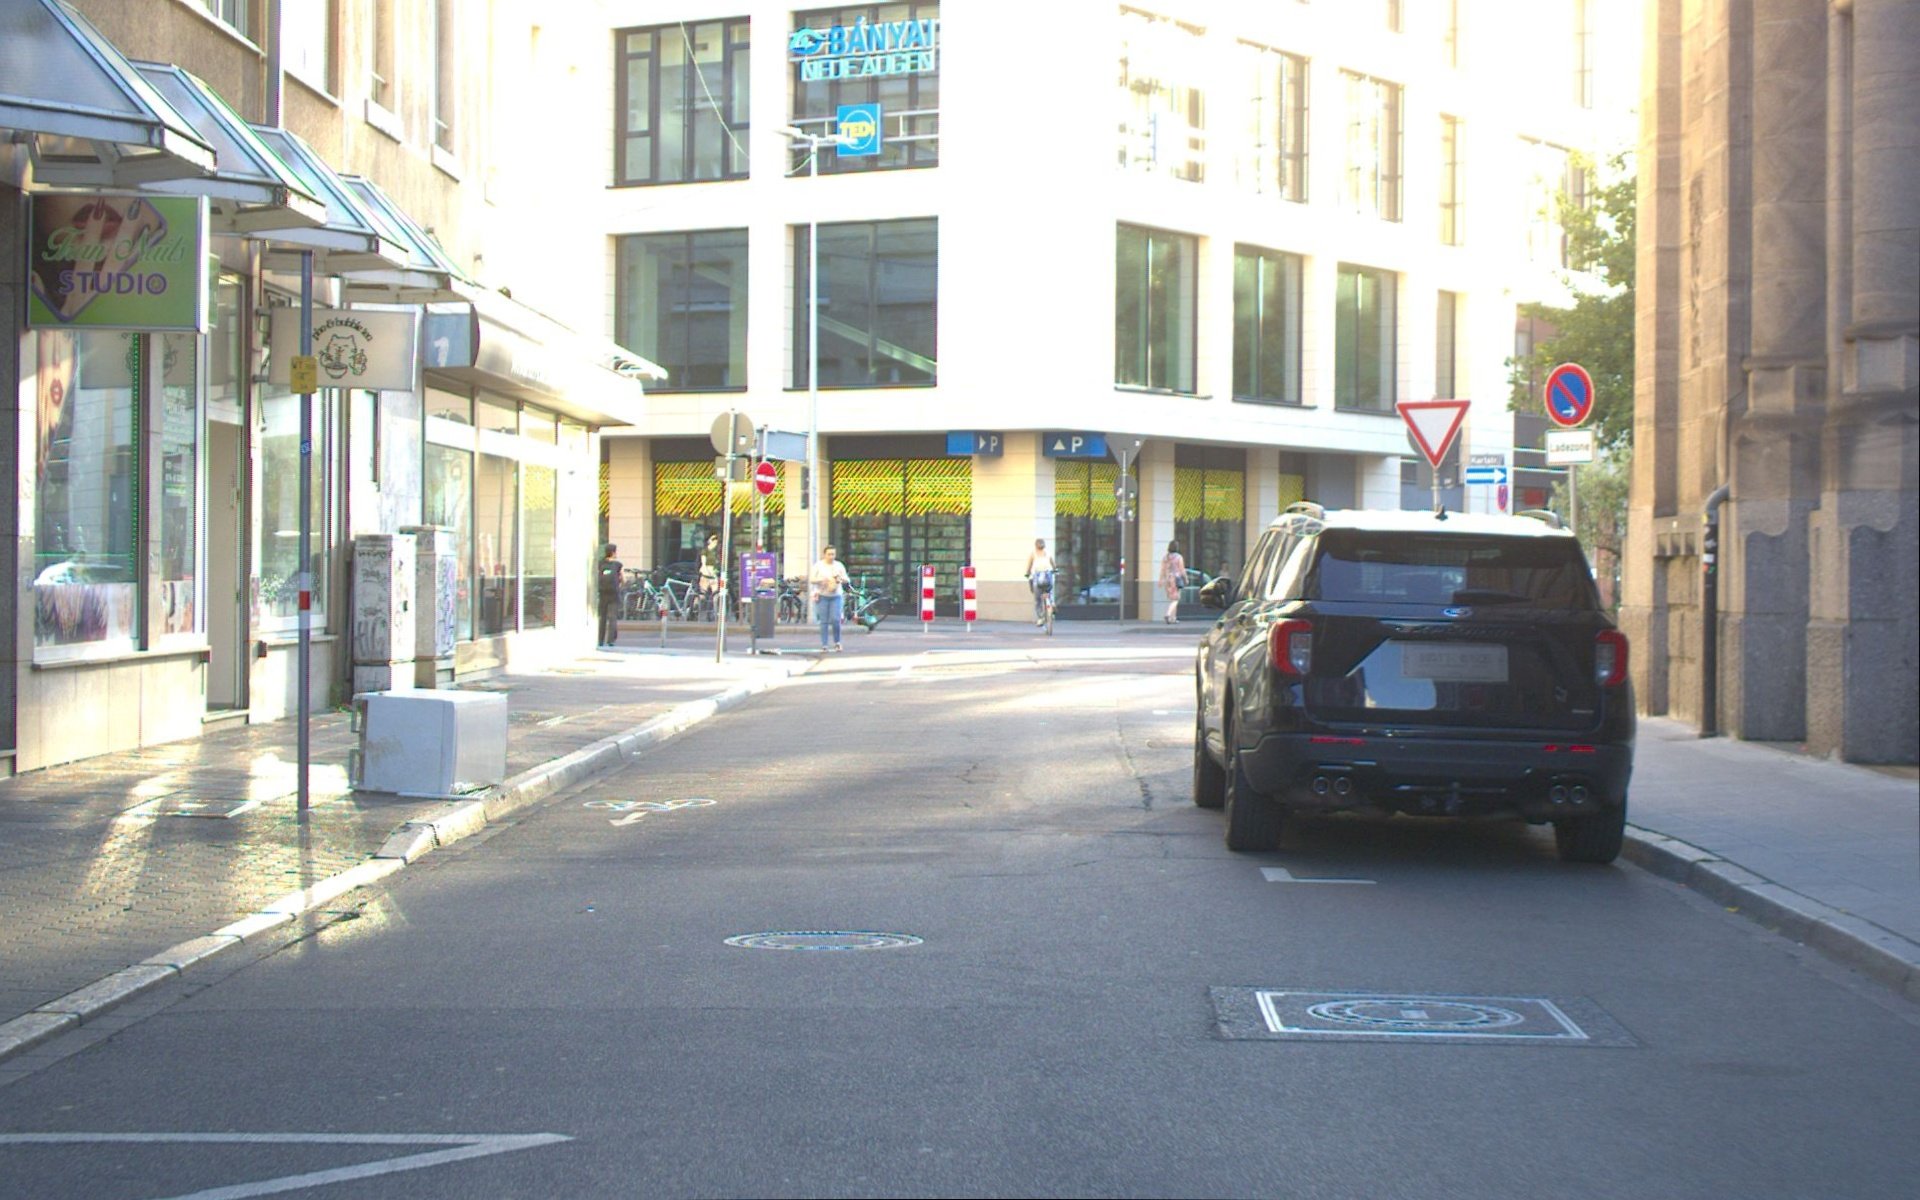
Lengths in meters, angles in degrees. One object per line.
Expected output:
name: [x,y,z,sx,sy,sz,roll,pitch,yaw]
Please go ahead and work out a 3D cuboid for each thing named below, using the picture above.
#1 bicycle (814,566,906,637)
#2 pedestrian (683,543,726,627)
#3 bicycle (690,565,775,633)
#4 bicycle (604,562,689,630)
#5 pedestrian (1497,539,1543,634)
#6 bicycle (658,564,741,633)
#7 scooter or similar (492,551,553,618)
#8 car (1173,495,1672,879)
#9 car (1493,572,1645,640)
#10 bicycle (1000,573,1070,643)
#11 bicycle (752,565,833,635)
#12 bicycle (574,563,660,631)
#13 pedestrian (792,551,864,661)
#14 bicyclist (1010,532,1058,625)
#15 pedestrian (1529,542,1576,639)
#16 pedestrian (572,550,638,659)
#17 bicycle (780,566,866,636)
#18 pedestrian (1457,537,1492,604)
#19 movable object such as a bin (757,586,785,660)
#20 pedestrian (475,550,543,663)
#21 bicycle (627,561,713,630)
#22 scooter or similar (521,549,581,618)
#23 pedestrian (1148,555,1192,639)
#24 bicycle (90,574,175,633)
bicycle: [-1.799,0.029,62.333,0.665,1.250,2.137,1,0,29]
pedestrian: [-5.270,-0.310,70.945,0.635,1.717,0.845,1,0,-23]
bicycle: [-4.203,-0.012,63.735,0.512,1.250,1.975,1,0,31]
bicycle: [-5.901,-0.060,64.803,0.512,1.250,1.975,1,0,31]
pedestrian: [9.954,-0.241,61.130,0.704,1.664,0.642,1,2,19]
bicycle: [-4.858,-0.021,64.173,0.512,1.250,1.975,1,0,30]
scooter or similar: [-8.039,-0.281,63.245,0.387,1.208,1.268,1,0,31]
car: [2.320,0.376,18.579,1.993,1.777,4.935,1,1,0]
car: [14.882,0.123,83.850,1.887,1.592,4.680,1,1,34]
bicycle: [1.359,0.144,62.864,0.610,1.250,1.979,1,0,-19]
bicycle: [-3.064,0.004,62.956,0.512,1.250,1.976,1,0,29]
bicycle: [-6.496,-0.046,65.203,0.512,1.250,1.975,1,0,31]
pedestrian: [-1.941,0.089,50.399,0.802,1.607,0.735,1,0,-28]
bicyclist: [1.358,-0.388,62.918,0.682,1.690,0.644,1,0,-17]
pedestrian: [10.345,-0.166,60.029,0.704,1.664,0.642,1,2,19]
pedestrian: [-5.446,0.068,52.693,0.869,1.652,0.619,1,0,-17]
bicycle: [-2.487,0.024,62.677,0.582,1.250,2.041,1,0,29]
pedestrian: [12.876,-0.741,86.040,0.673,1.669,0.646,1,1,30]
movable object such as a bin: [-2.728,0.324,49.541,0.359,1.060,0.356,1,0,-9]
pedestrian: [-6.491,0.089,49.550,0.732,1.607,0.804,1,0,12]
bicycle: [-5.431,-0.077,64.476,0.512,1.250,1.975,1,0,31]
scooter or similar: [-7.491,-0.298,63.016,0.387,1.256,1.268,1,0,31]
pedestrian: [4.375,-0.064,71.736,0.673,1.738,0.646,1,0,33]
bicycle: [-18.085,0.080,75.147,1.976,1.250,0.512,1,0,30]
